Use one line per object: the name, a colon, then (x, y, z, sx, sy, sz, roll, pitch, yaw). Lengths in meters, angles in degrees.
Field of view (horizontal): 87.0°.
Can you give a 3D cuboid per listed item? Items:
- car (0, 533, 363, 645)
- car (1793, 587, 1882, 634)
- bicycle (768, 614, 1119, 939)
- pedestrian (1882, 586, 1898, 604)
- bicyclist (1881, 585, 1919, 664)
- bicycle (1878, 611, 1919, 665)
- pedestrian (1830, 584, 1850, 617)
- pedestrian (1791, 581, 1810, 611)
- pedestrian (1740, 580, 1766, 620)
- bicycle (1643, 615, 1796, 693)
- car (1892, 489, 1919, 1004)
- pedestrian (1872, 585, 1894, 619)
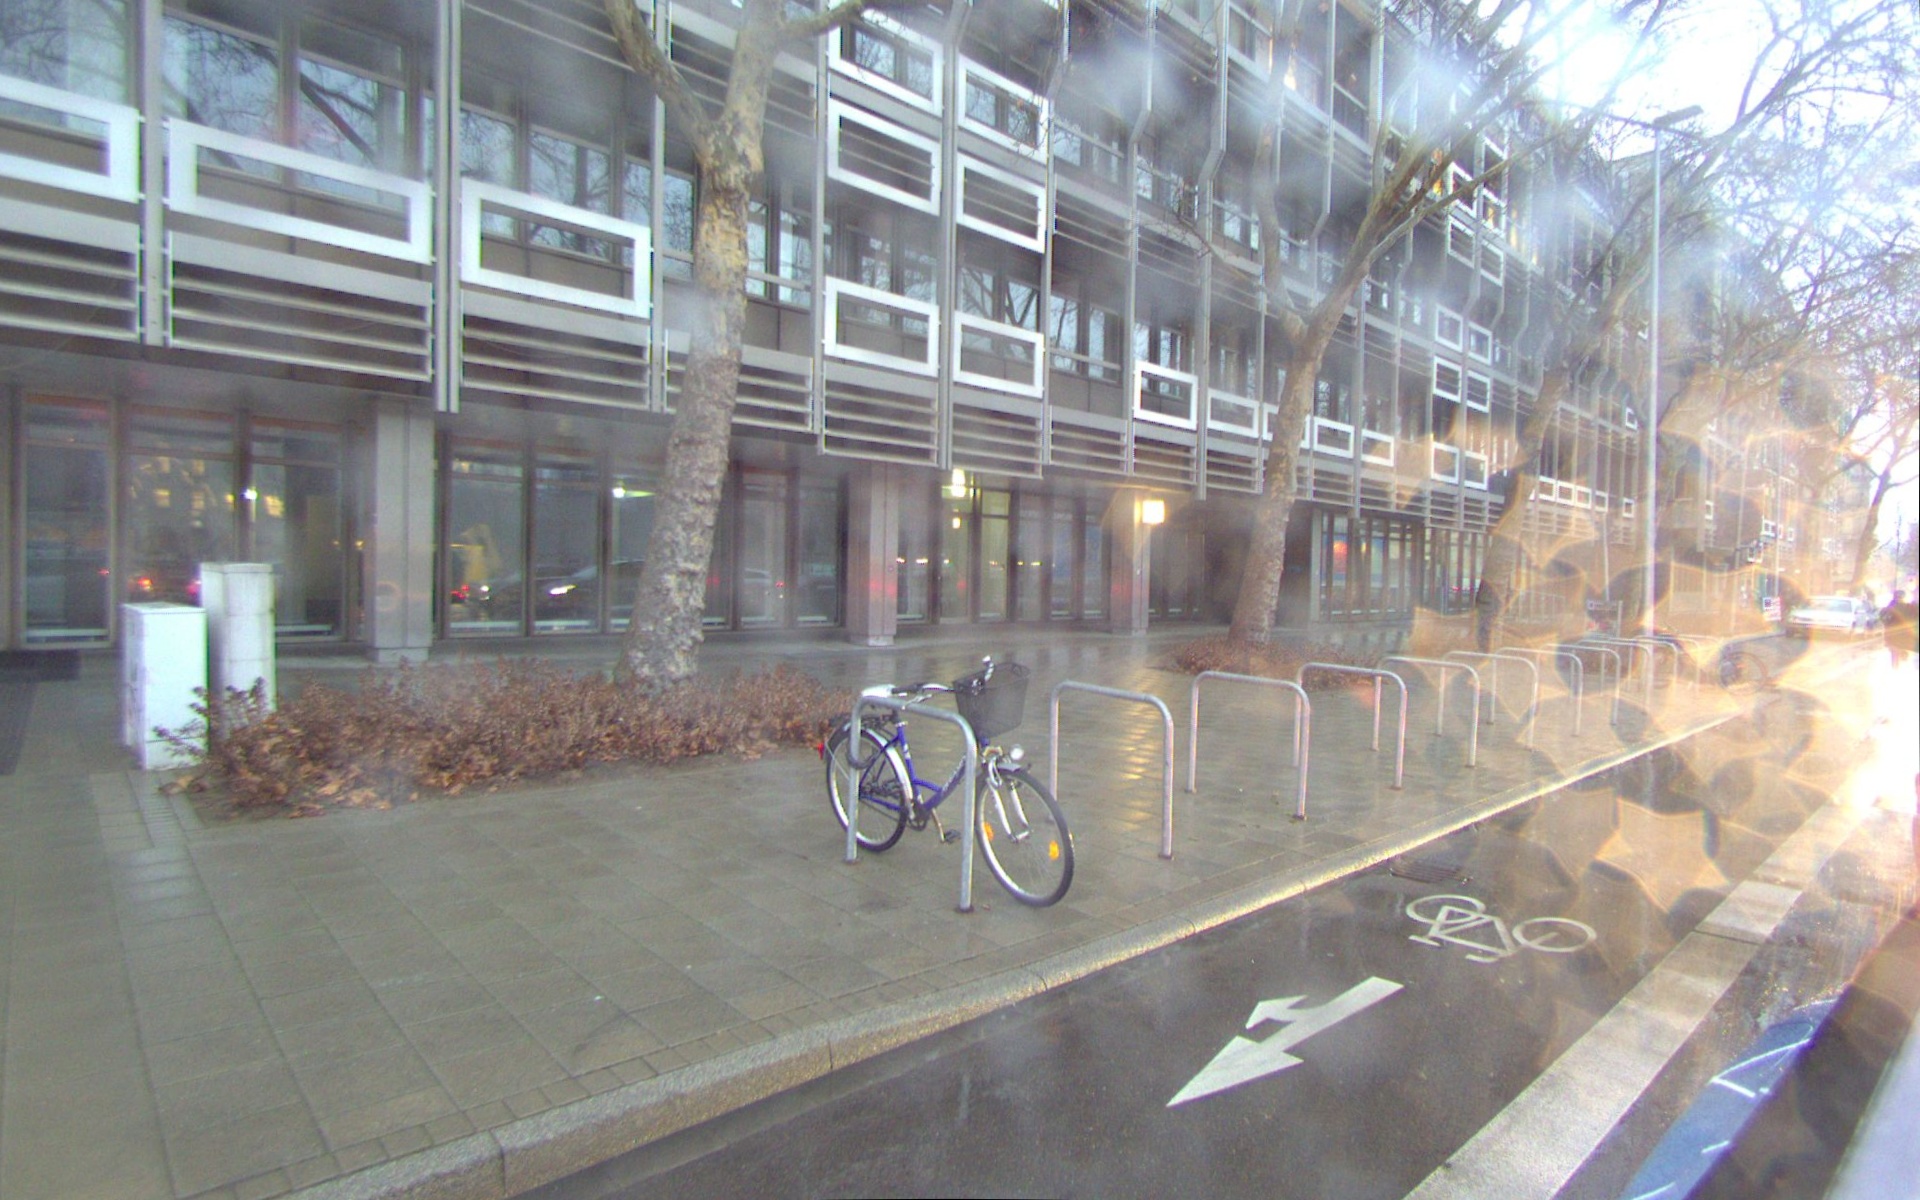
car: (-10.696, -0.188, 14.021, 3.929, 1.326, 1.998, 0, 3, -40)
car: (29.343, 0.311, 33.816, 3.930, 1.482, 1.711, -1, 1, -41)
bicycle: (-0.165, 0.711, 4.866, 0.629, 1.145, 1.810, 2, 2, -41)
pedestrian: (68.561, -0.357, 74.607, 0.738, 1.354, 0.781, 0, 0, -41)
bicyclist: (20.882, 0.528, 22.315, 0.947, 1.681, 0.704, 1, 1, -41)
bicycle: (20.840, 0.817, 22.299, 1.752, 1.108, 0.709, 1, 0, -41)
pedestrian: (49.144, 0.012, 56.522, 0.765, 1.771, 0.913, 2, 2, 45)
pedestrian: (50.259, -0.236, 60.498, 0.765, 1.771, 0.913, 2, 2, 45)
pedestrian: (35.624, -0.015, 45.466, 0.765, 1.771, 0.913, 2, 2, 45)
bicycle: (11.683, 0.798, 15.600, 0.864, 1.004, 1.704, 0, 4, -41)
car: (5.497, 0.512, 4.324, 3.931, 1.864, 1.876, -1, 0, -42)
pedestrian: (49.538, 0.091, 54.318, 0.765, 1.771, 0.913, 2, 2, 45)
